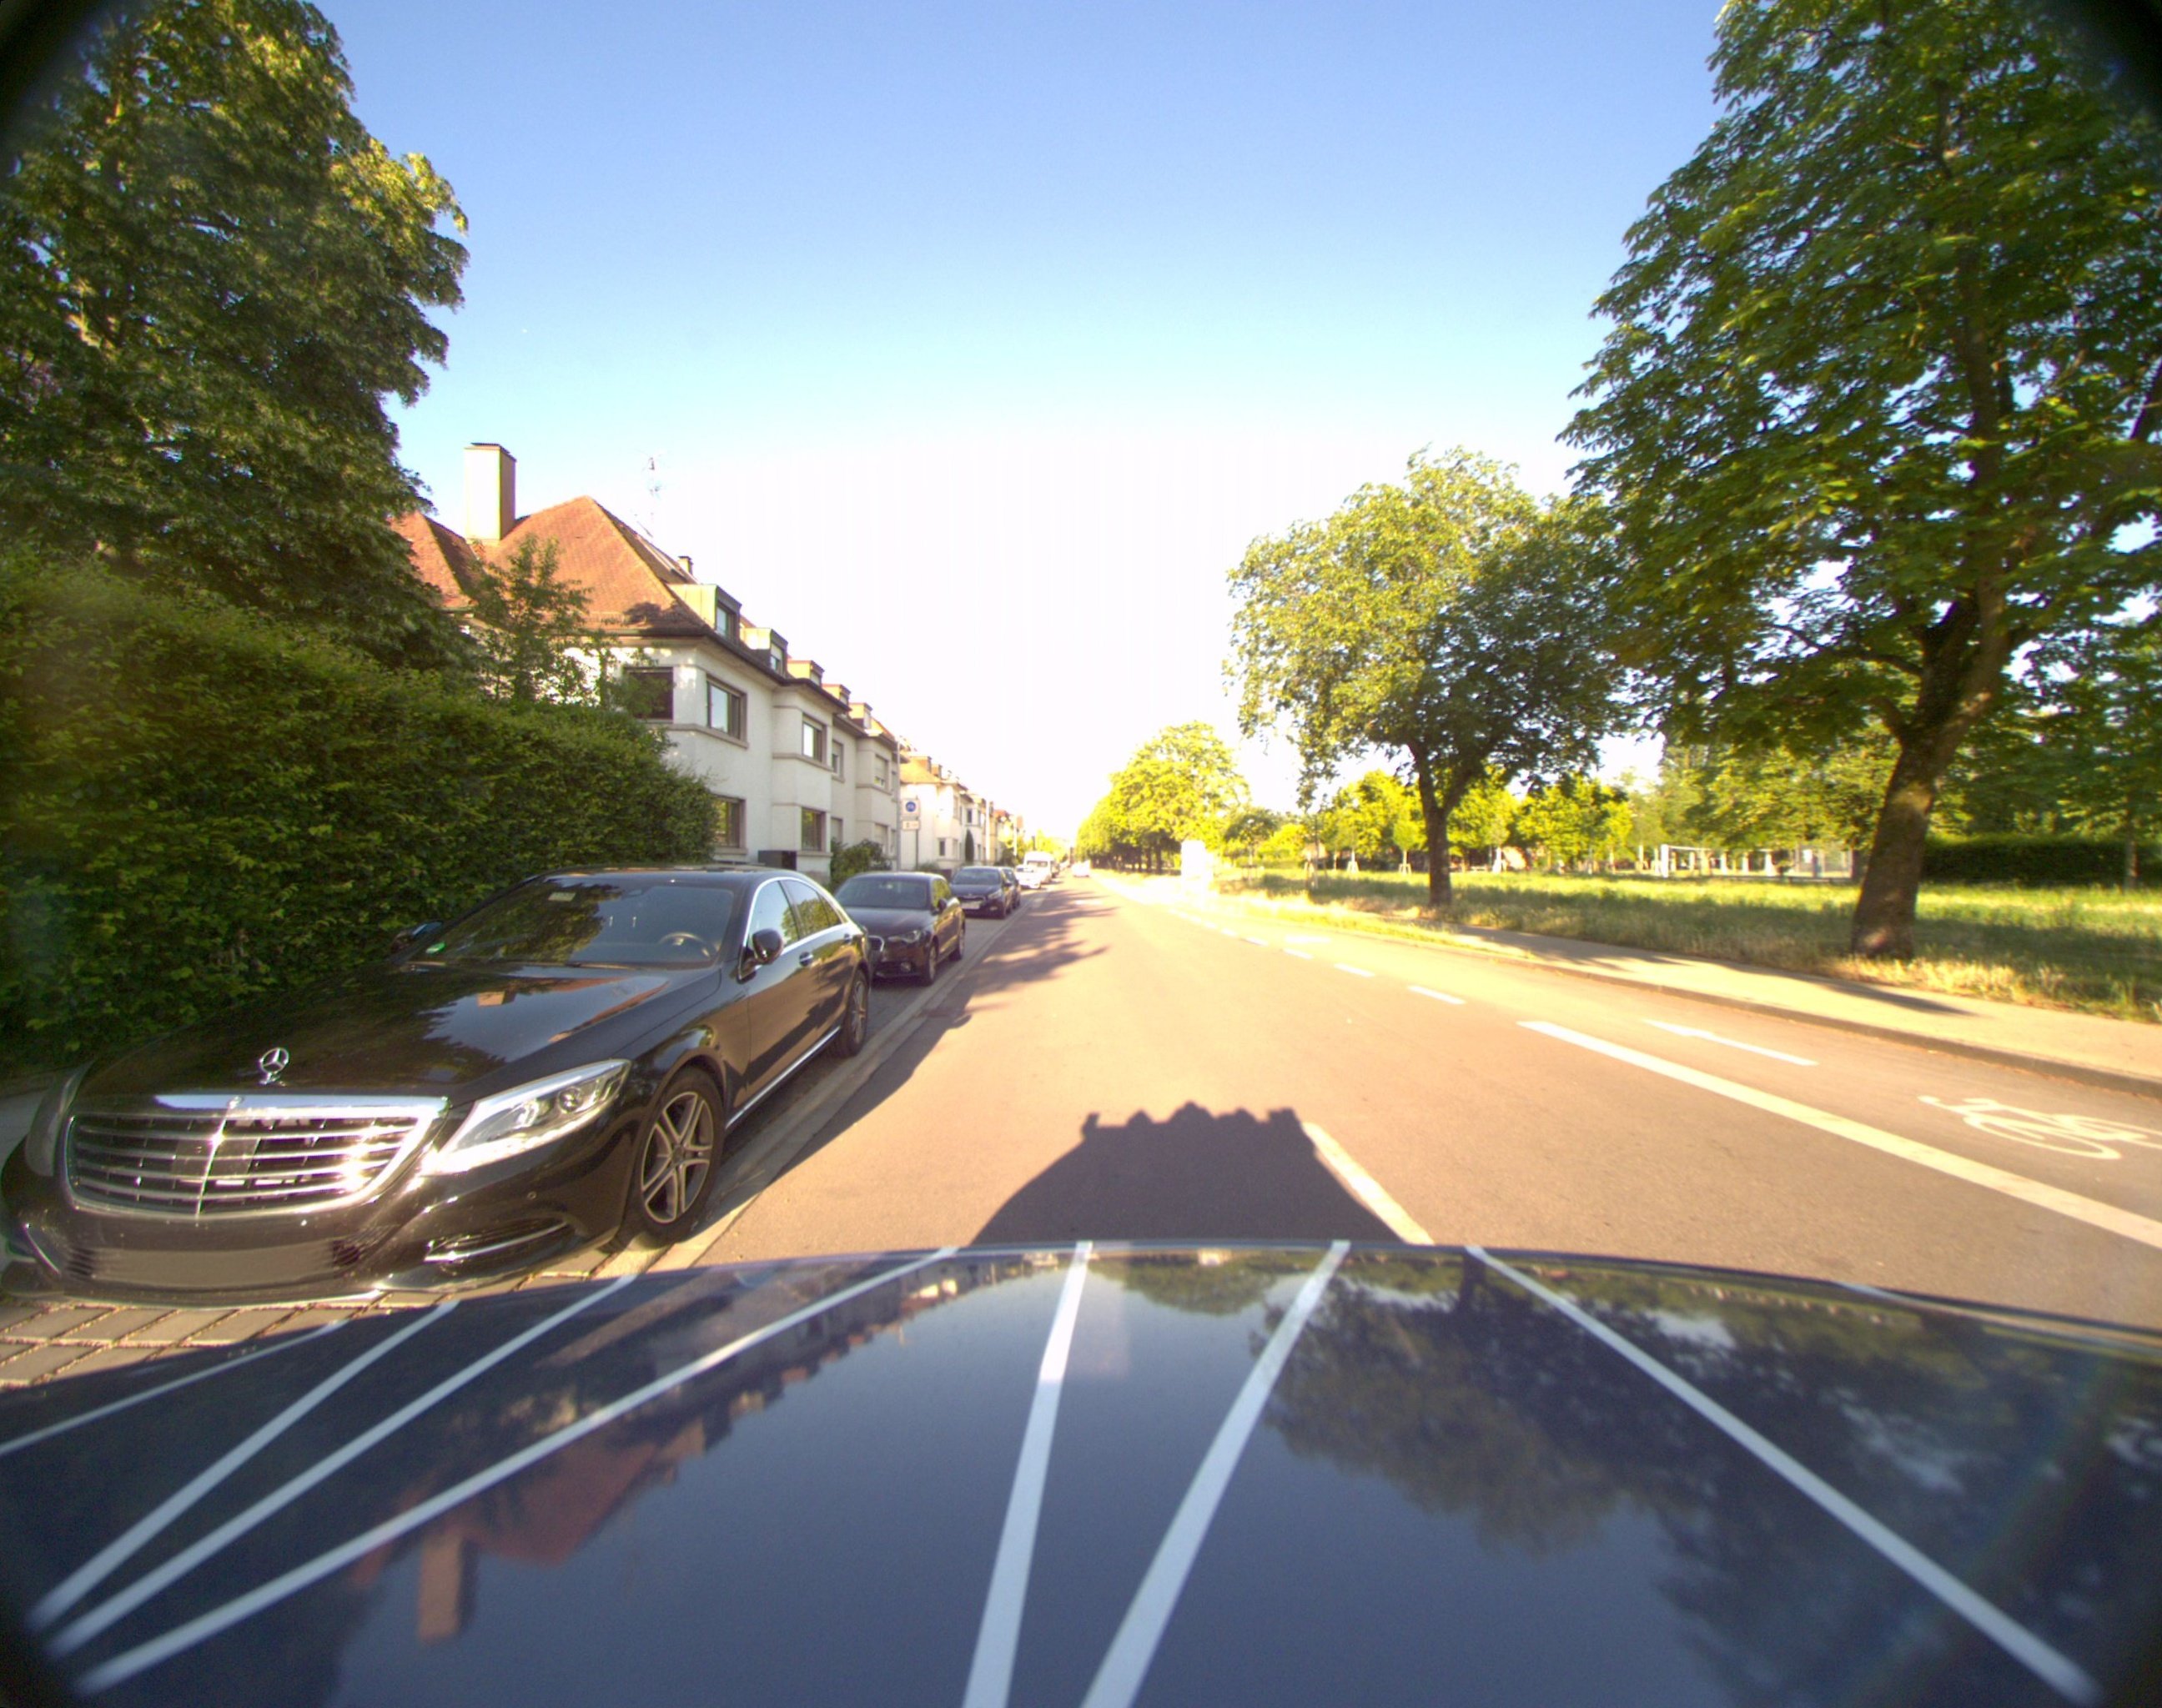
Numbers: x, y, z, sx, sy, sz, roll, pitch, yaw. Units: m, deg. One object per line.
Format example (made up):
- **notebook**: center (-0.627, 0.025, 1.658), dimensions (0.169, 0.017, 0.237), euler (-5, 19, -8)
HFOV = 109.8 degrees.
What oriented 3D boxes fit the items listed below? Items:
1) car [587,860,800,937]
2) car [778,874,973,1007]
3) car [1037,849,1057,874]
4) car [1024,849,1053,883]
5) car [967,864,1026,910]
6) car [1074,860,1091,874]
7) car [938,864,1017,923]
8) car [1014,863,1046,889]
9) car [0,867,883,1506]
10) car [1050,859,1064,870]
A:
- **car**: center (-8.221, 0.926, 16.386), dimensions (3.644, 1.487, 1.780), euler (2, 0, -5)
- **car**: center (-2.648, 1.052, 10.722), dimensions (1.645, 1.419, 3.936), euler (1, 0, 0)
- **car**: center (-3.982, 0.889, 90.244), dimensions (2.134, 2.837, 5.987), euler (-1, 0, -1)
- **car**: center (-3.288, 0.947, 59.748), dimensions (2.135, 2.503, 5.507), euler (1, 0, -2)
- **car**: center (-2.999, 1.152, 27.573), dimensions (1.723, 1.463, 3.983), euler (2, 0, -2)
- **car**: center (0.181, 1.567, 92.308), dimensions (1.896, 1.667, 4.424), euler (-1, 0, -1)
- **car**: center (-2.918, 1.074, 22.241), dimensions (1.751, 1.466, 4.255), euler (3, 0, -2)
- **car**: center (-3.088, 1.321, 46.699), dimensions (1.787, 1.498, 4.233), euler (-1, 0, -2)
- **car**: center (-2.624, 0.893, 4.352), dimensions (1.864, 1.533, 4.872), euler (1, 0, -3)
- **car**: center (-3.647, 1.583, 116.669), dimensions (1.974, 1.630, 4.000), euler (2, -1, -1)
